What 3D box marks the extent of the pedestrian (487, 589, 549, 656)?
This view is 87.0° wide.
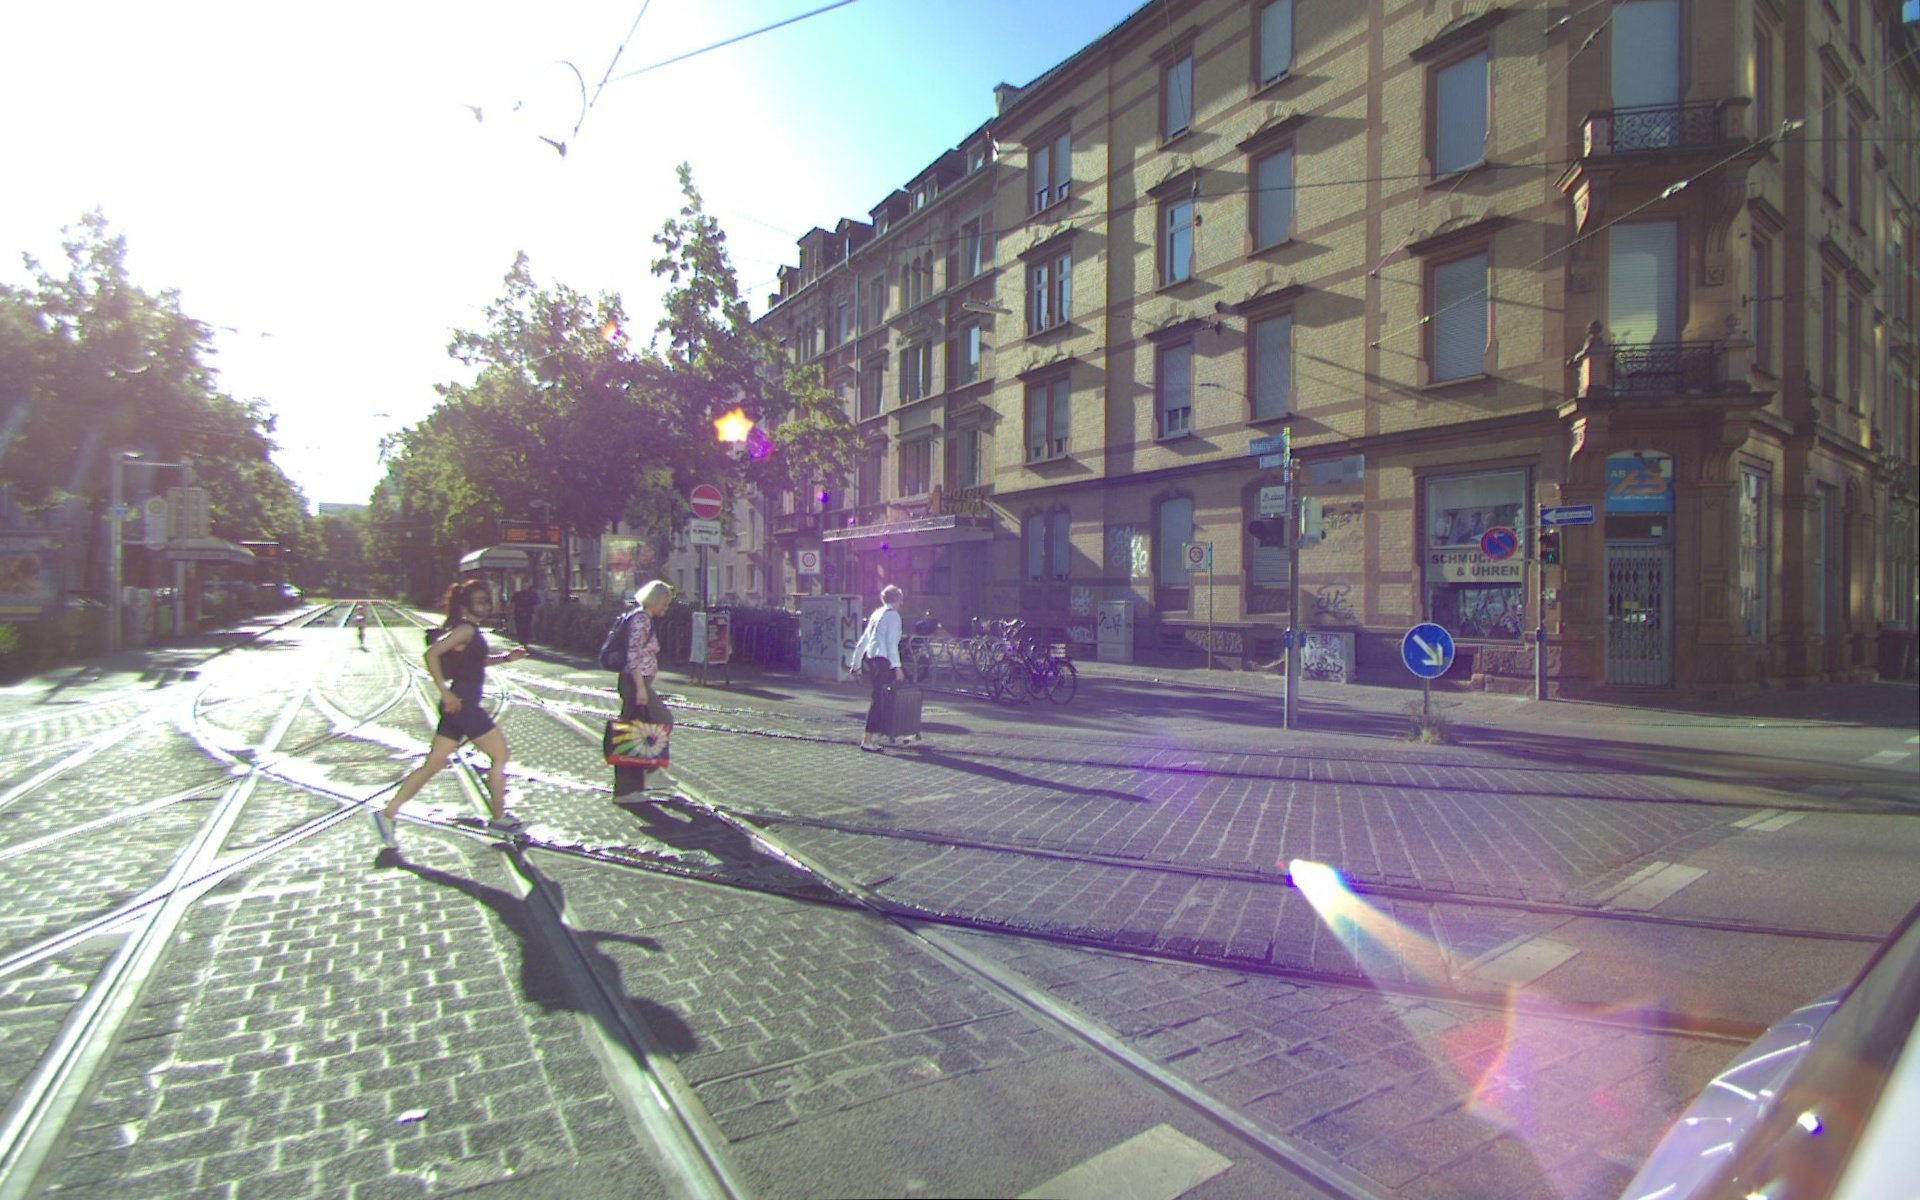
[{"bbox_3d":[-11.055,0.555,25.336,1.003,1.653,1.009,0,-2,35],"label":"pedestrian"}]

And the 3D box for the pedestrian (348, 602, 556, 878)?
[{"bbox_3d":[-3.025,0.805,6.109,0.923,1.557,0.635,1,-1,-6],"label":"pedestrian"}]

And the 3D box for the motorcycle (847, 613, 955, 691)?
[{"bbox_3d":[-1.181,1.046,20.455,1.917,1.423,0.861,3,-3,16],"label":"motorcycle"}]

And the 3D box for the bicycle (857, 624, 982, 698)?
[{"bbox_3d":[-0.686,1.103,18.070,2.270,1.225,0.650,5,-4,-41],"label":"bicycle"}]

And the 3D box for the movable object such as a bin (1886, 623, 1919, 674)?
[{"bbox_3d":[21.349,1.086,22.740,0.579,1.086,0.665,3,0,-36],"label":"movable object such as a bin"}]

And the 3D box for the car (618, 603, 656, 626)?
[{"bbox_3d":[-21.274,0.928,66.521,1.709,1.438,3.772,2,-1,-28],"label":"car"}]

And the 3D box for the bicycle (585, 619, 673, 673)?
[{"bbox_3d":[-7.496,1.059,23.048,0.644,1.143,2.021,1,-3,25],"label":"bicycle"}]

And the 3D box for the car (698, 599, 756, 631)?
[{"bbox_3d":[-10.905,0.681,47.163,1.709,1.438,3.772,2,-1,-28],"label":"car"}]

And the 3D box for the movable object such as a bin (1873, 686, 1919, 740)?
[{"bbox_3d":[20.770,2.499,22.430,0.535,1.086,0.665,3,0,-36],"label":"movable object such as a bin"}]

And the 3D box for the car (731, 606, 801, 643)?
[{"bbox_3d":[-8.110,0.982,42.088,1.709,1.438,4.005,2,-1,-28],"label":"car"}]

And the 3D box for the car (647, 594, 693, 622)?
[{"bbox_3d":[-16.020,0.453,55.807,1.709,1.438,3.772,2,-1,-28],"label":"car"}]

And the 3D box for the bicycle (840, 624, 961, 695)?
[{"bbox_3d":[-1.079,1.122,18.812,2.270,1.225,0.650,5,-4,-41],"label":"bicycle"}]

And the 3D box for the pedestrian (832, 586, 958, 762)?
[{"bbox_3d":[-0.666,0.711,10.162,0.988,1.653,0.927,2,-1,-23],"label":"pedestrian"}]

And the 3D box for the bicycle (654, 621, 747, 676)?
[{"bbox_3d":[-5.801,1.103,22.751,0.647,1.143,2.012,1,-3,37],"label":"bicycle"}]

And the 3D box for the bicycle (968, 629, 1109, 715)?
[{"bbox_3d":[1.250,1.120,15.651,2.270,1.225,0.752,5,-4,-41],"label":"bicycle"}]

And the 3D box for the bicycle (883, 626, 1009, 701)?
[{"bbox_3d":[-0.210,1.116,17.546,2.270,1.225,0.650,5,-4,-41],"label":"bicycle"}]

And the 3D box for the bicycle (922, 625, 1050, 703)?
[{"bbox_3d":[0.478,1.089,17.056,2.270,1.225,0.650,5,-4,-41],"label":"bicycle"}]

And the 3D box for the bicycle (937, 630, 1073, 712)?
[{"bbox_3d":[0.759,1.139,16.288,2.270,1.225,0.752,4,-3,-41],"label":"bicycle"}]

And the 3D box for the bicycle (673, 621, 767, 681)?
[{"bbox_3d":[-5.196,1.095,22.046,0.647,1.225,2.012,1,-1,37],"label":"bicycle"}]

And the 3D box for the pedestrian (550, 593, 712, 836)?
[{"bbox_3d":[-2.363,0.791,7.398,0.923,1.653,0.926,1,-1,-6],"label":"pedestrian"}]

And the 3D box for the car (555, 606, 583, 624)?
[{"bbox_3d":[-32.791,1.265,84.832,1.709,1.438,3.772,2,-1,-28],"label":"car"}]

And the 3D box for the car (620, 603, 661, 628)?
[{"bbox_3d":[-19.704,0.941,62.359,1.709,1.438,3.772,2,-1,-28],"label":"car"}]
